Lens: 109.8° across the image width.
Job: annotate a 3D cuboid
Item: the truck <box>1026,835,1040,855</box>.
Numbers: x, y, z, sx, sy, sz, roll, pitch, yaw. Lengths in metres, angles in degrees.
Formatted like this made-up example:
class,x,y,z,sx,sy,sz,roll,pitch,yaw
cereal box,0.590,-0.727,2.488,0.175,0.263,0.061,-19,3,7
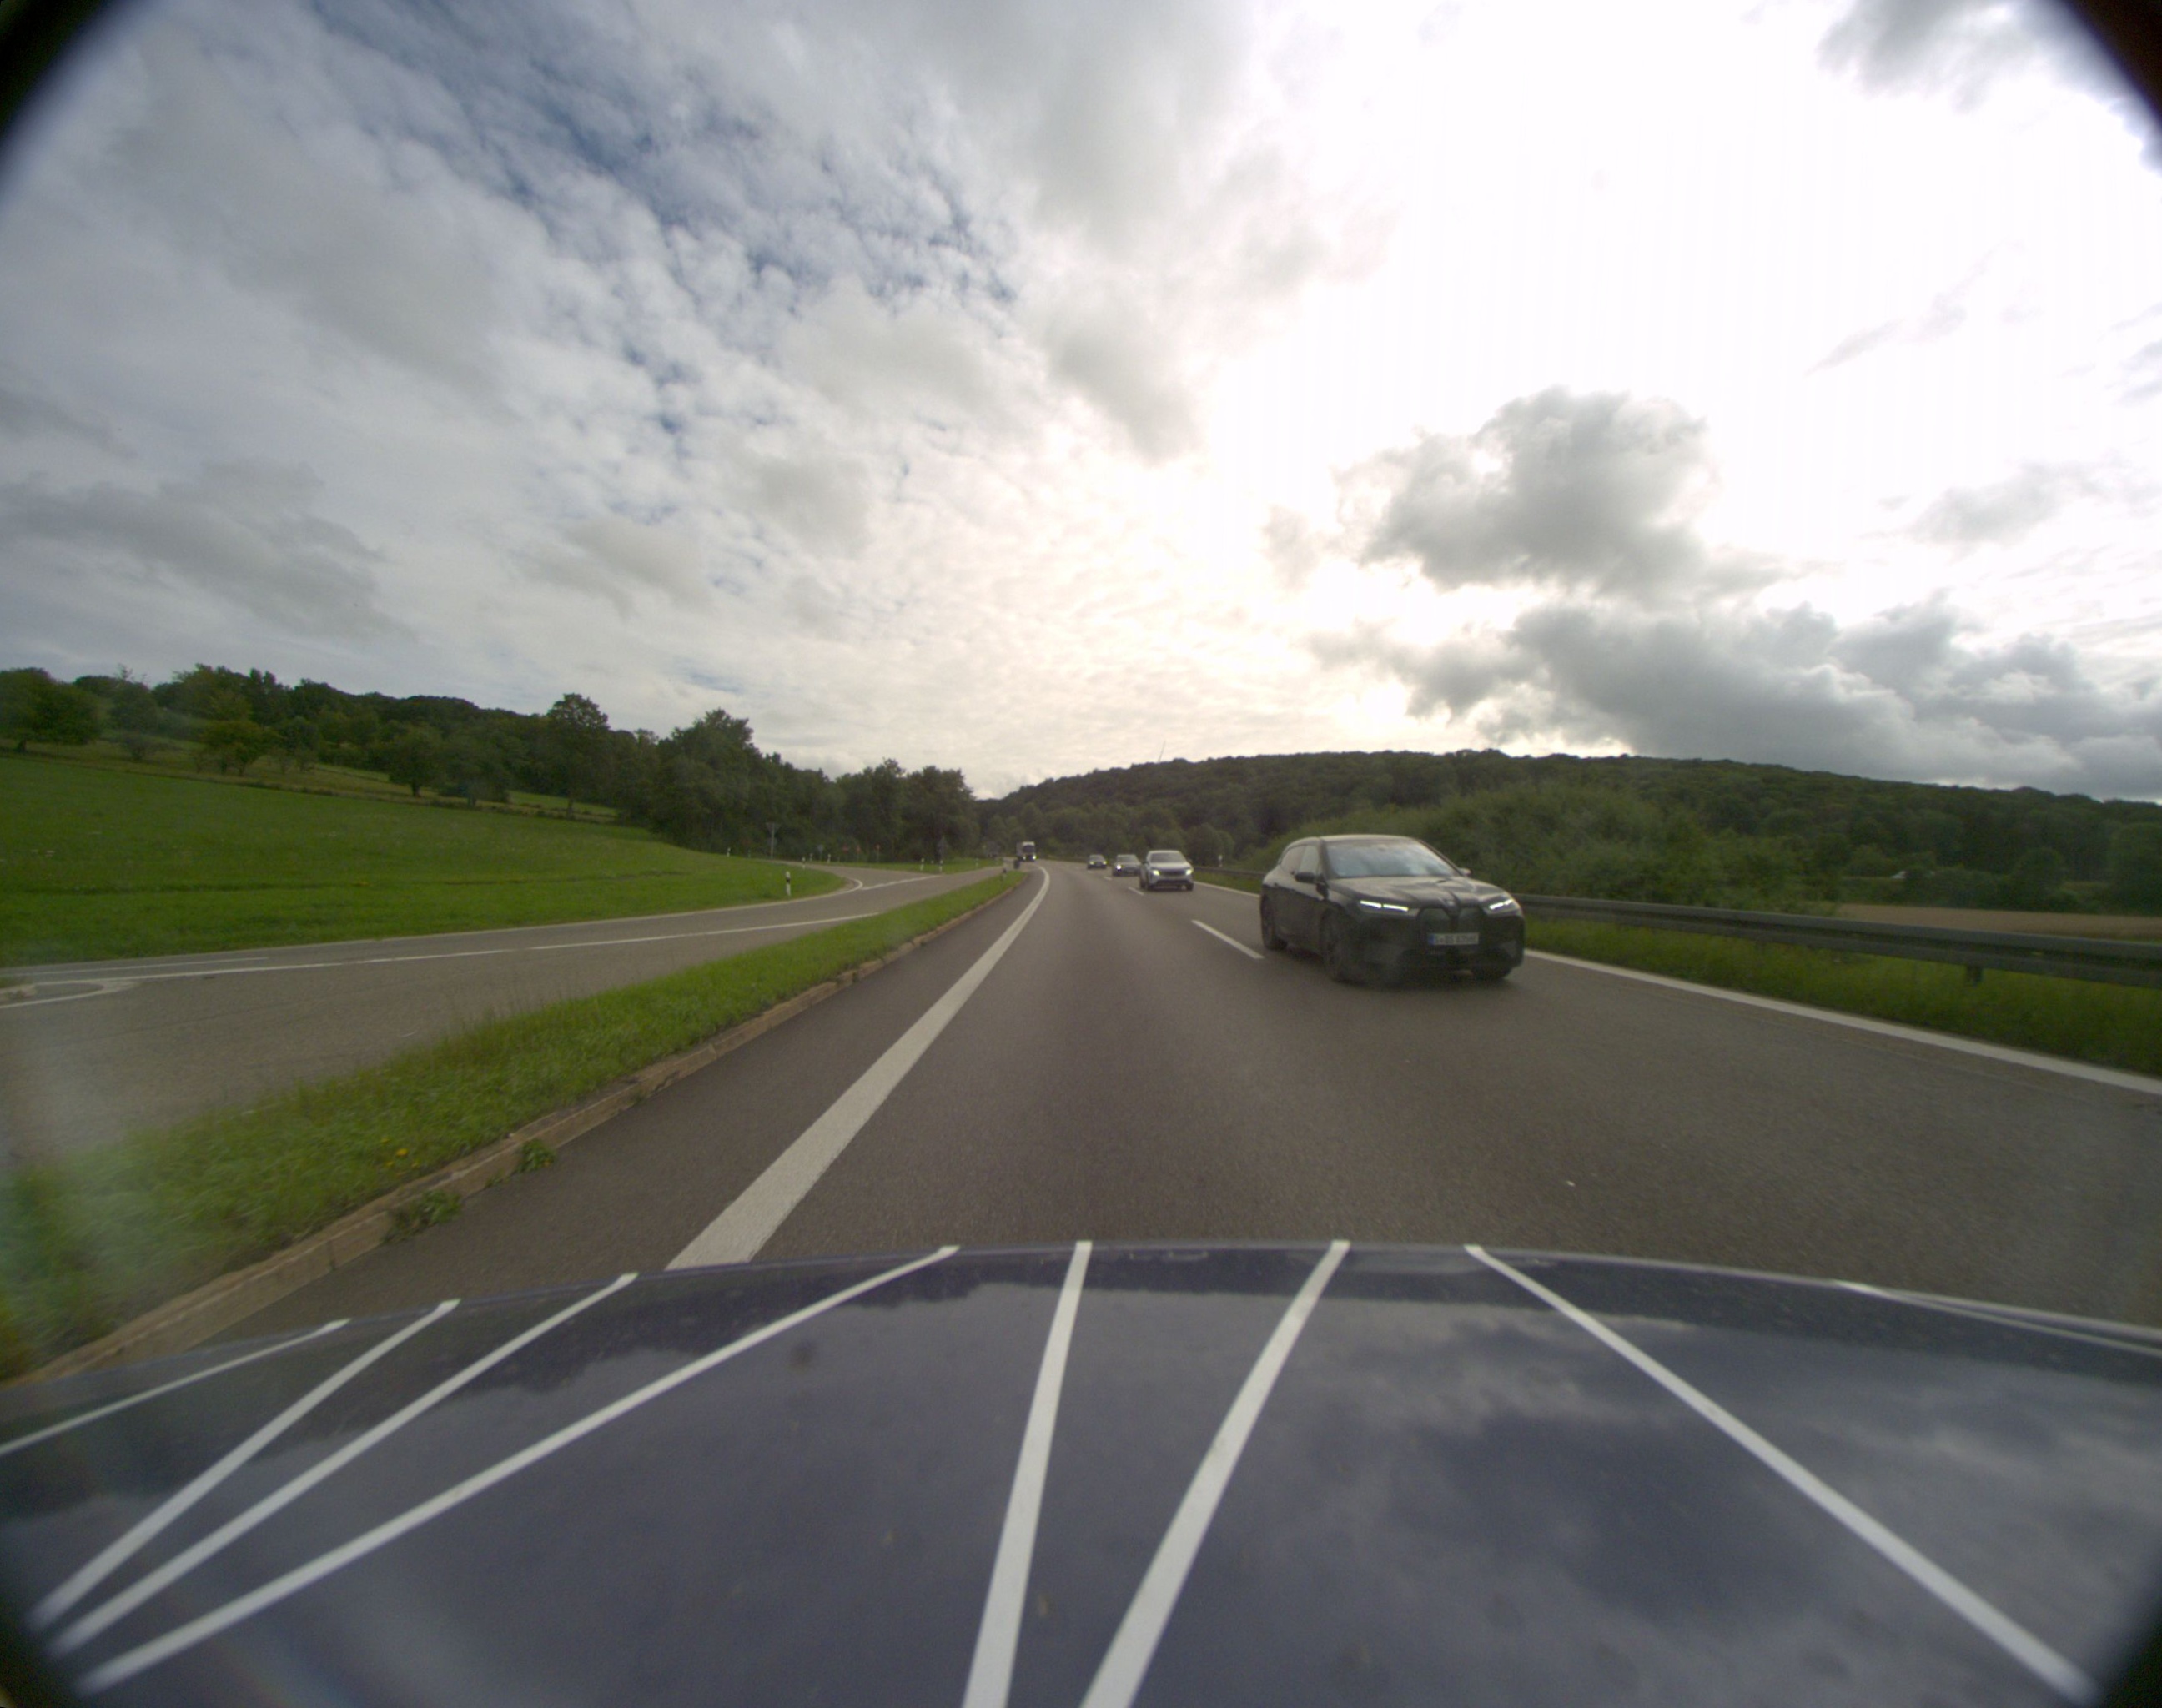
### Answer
class,x,y,z,sx,sy,sz,roll,pitch,yaw
truck,-9.916,-1.891,158.020,2.796,3.949,5.936,0,1,-4

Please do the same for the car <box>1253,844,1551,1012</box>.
class,x,y,z,sx,sy,sz,roll,pitch,yaw
car,3.719,0.735,9.815,1.998,1.656,4.415,-1,0,0

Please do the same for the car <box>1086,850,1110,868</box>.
class,x,y,z,sx,sy,sz,roll,pitch,yaw
car,1.718,0.514,76.661,1.999,1.656,4.411,0,2,-4

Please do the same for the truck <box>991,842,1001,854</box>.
class,x,y,z,sx,sy,sz,roll,pitch,yaw
truck,-27.550,-1.897,246.900,2.798,3.949,5.933,0,1,-10

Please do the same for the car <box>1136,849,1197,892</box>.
class,x,y,z,sx,sy,sz,roll,pitch,yaw
car,3.554,0.653,32.310,1.999,1.656,4.414,-1,0,-1

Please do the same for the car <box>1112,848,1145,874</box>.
class,x,y,z,sx,sy,sz,roll,pitch,yaw
car,3.285,0.468,53.042,1.999,1.656,4.413,0,1,0
